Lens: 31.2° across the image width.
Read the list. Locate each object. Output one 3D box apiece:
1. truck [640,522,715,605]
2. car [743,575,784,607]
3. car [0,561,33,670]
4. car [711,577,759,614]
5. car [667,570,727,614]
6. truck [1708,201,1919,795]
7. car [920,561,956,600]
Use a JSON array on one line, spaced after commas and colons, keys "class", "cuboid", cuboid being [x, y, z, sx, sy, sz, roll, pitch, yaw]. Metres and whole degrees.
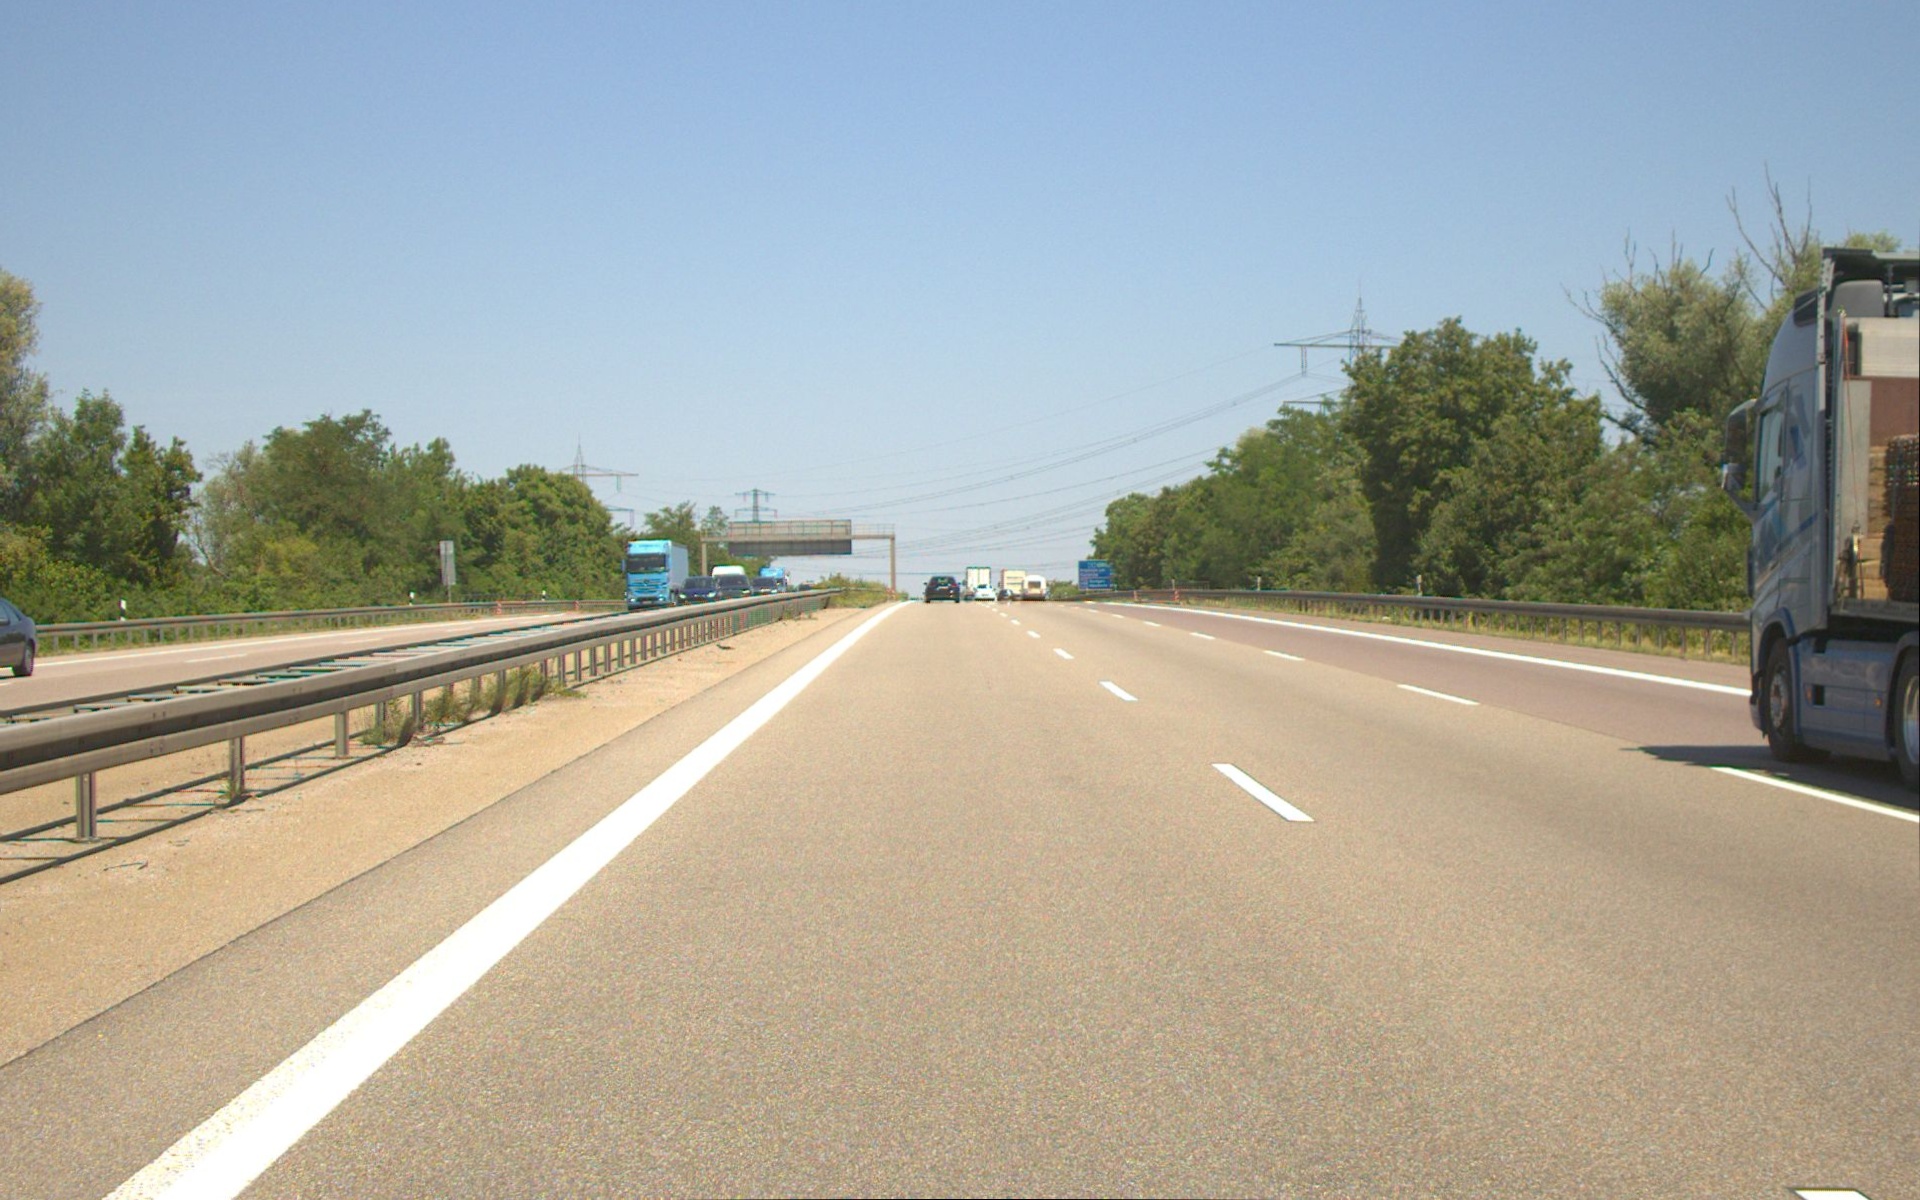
[{"class": "truck", "cuboid": [-17.236, -2.190, 210.748, 3.225, 4.704, 16.860, -3, 0, -1]}, {"class": "car", "cuboid": [-10.931, -0.506, 191.065, 1.993, 1.684, 4.408, -2, 0, 0]}, {"class": "car", "cuboid": [-17.482, 0.326, 58.838, 1.993, 1.866, 4.582, -4, 1, -2]}, {"class": "car", "cuboid": [-10.570, -0.238, 161.806, 1.993, 1.684, 4.408, -1, 0, 0]}, {"class": "car", "cuboid": [-10.713, -0.335, 140.397, 1.993, 1.599, 4.600, -6, 1, 0]}, {"class": "truck", "cuboid": [7.883, -0.656, 20.433, 2.969, 3.944, 16.614, 1, 0, -1]}, {"class": "car", "cuboid": [-1.144, -1.019, 179.904, 1.791, 2.007, 3.887, 1, 0, 0]}]
